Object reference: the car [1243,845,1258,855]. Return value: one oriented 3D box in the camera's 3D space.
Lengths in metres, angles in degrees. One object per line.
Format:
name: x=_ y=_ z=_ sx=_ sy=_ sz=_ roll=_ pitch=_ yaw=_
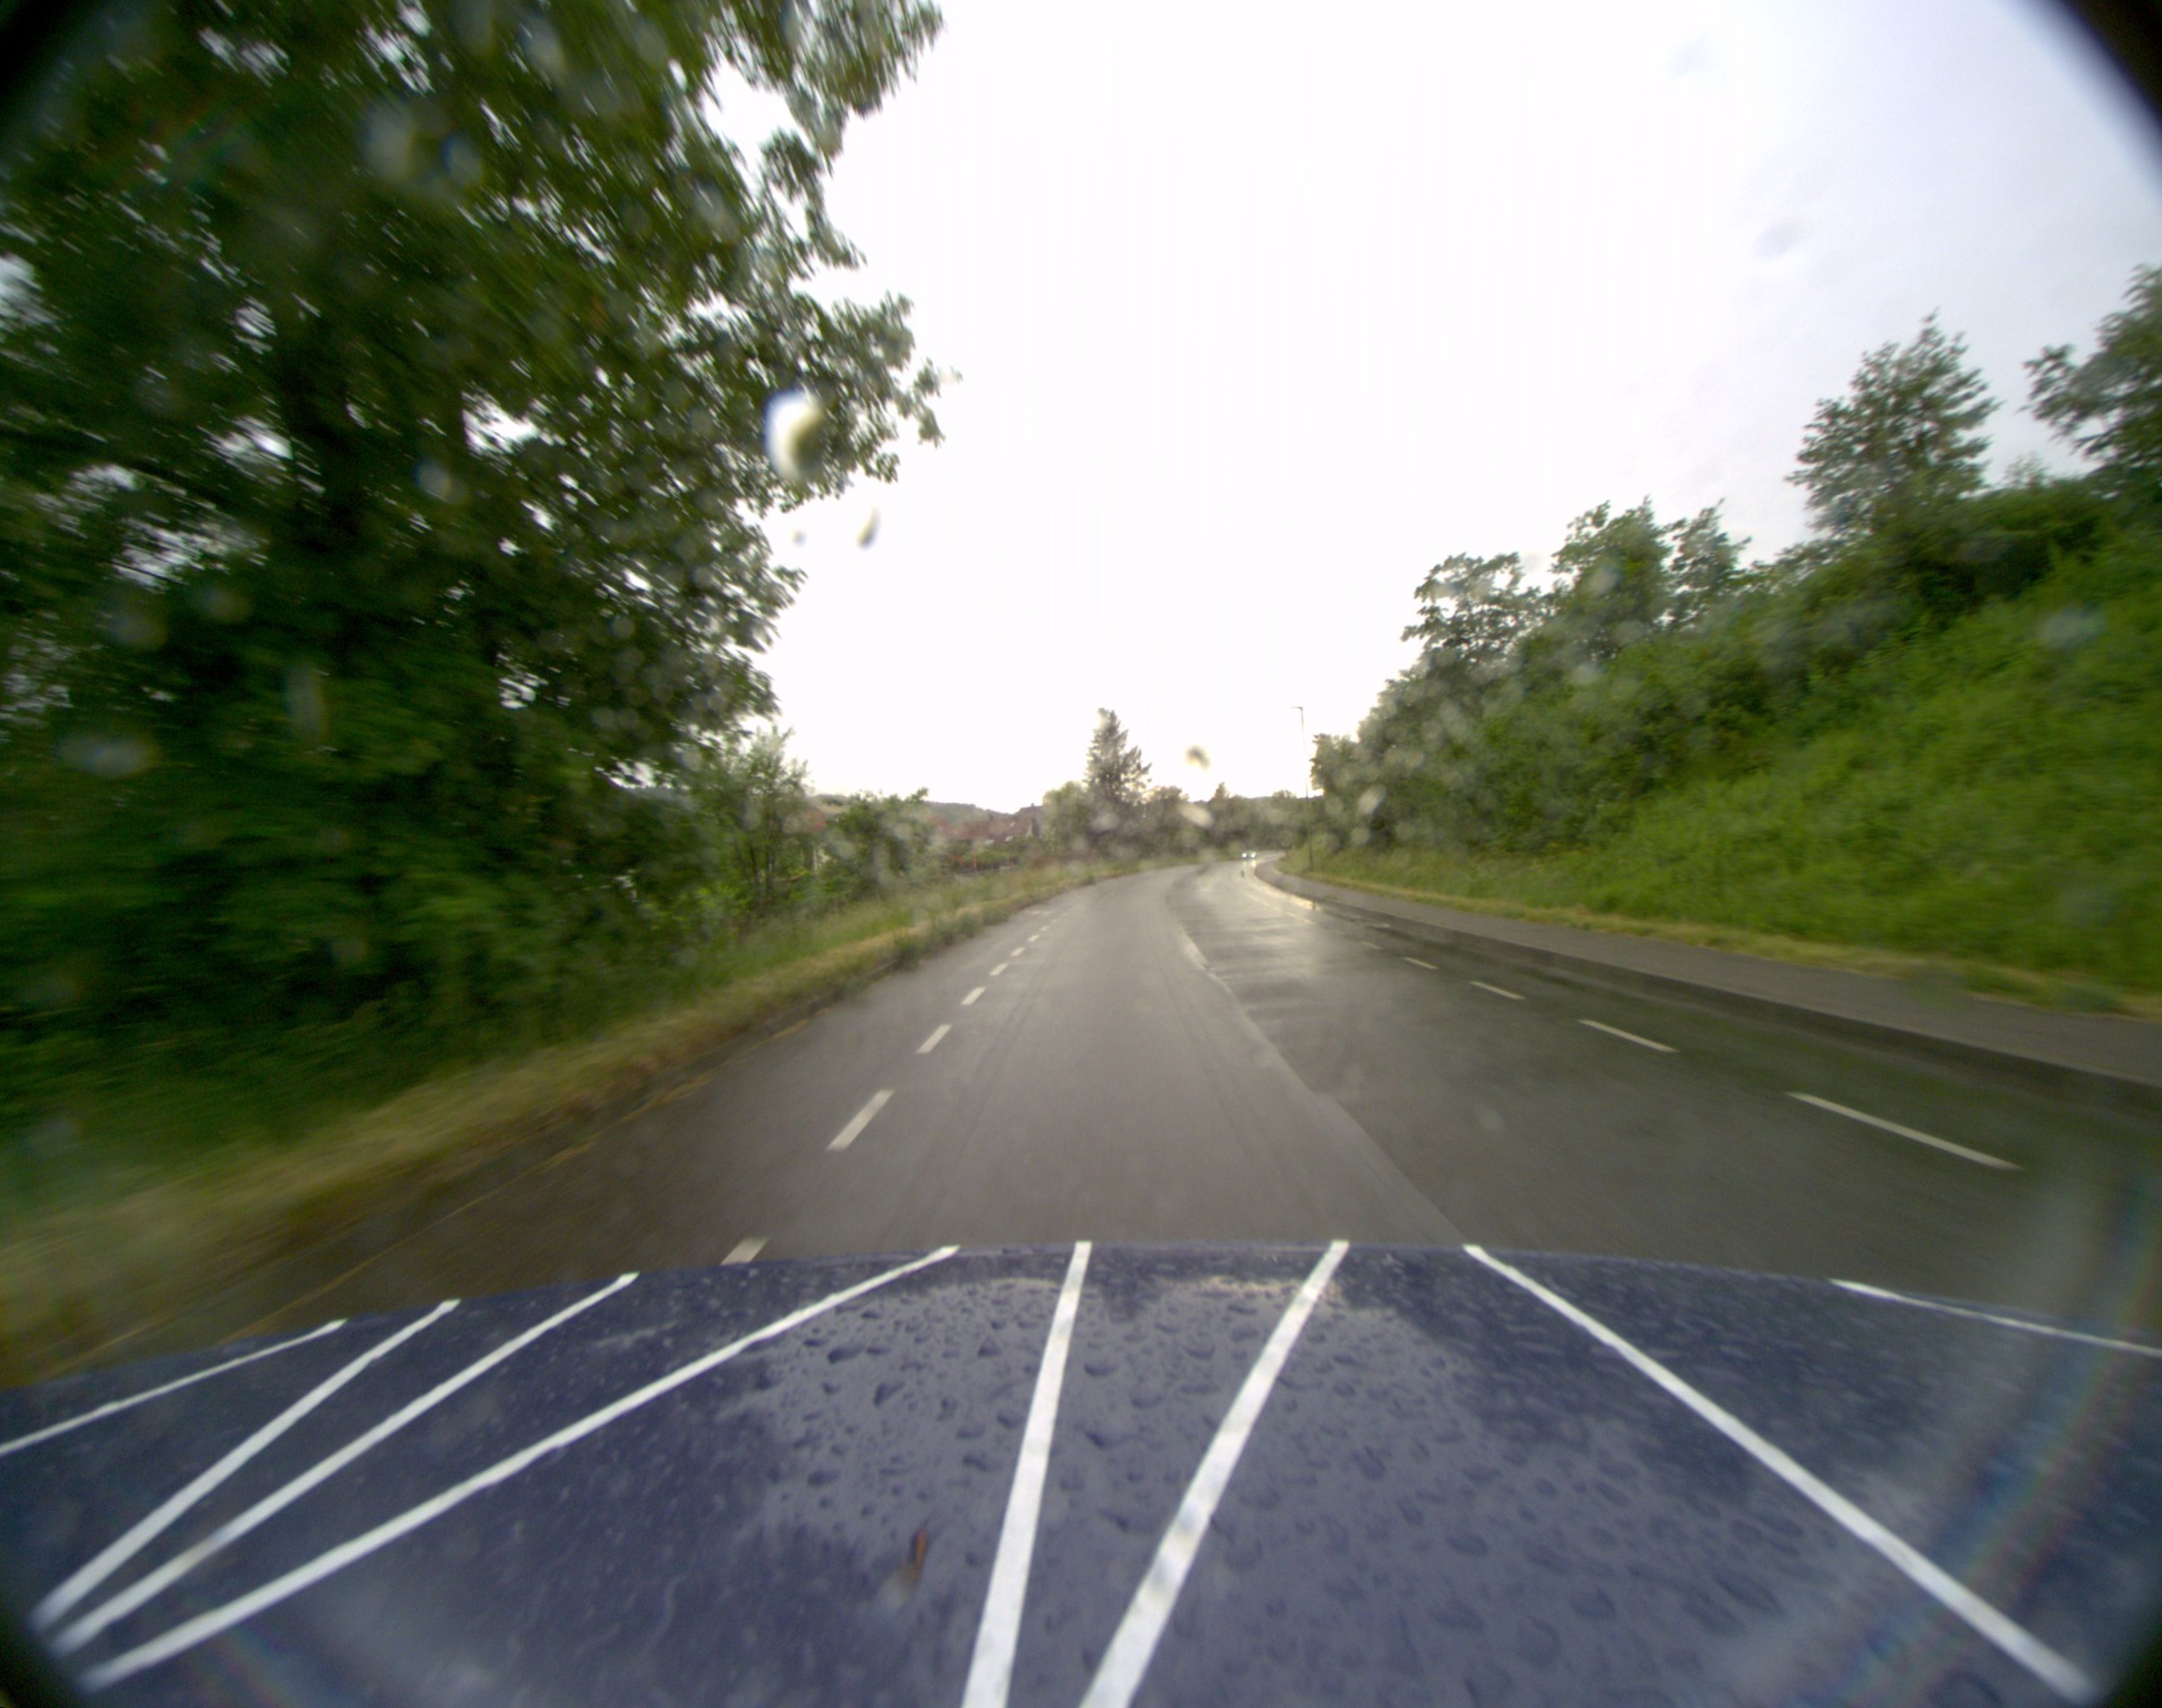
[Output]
car: x=26.872 y=-0.628 z=120.525 sx=1.877 sy=1.596 sz=4.005 roll=-1 pitch=1 yaw=20
